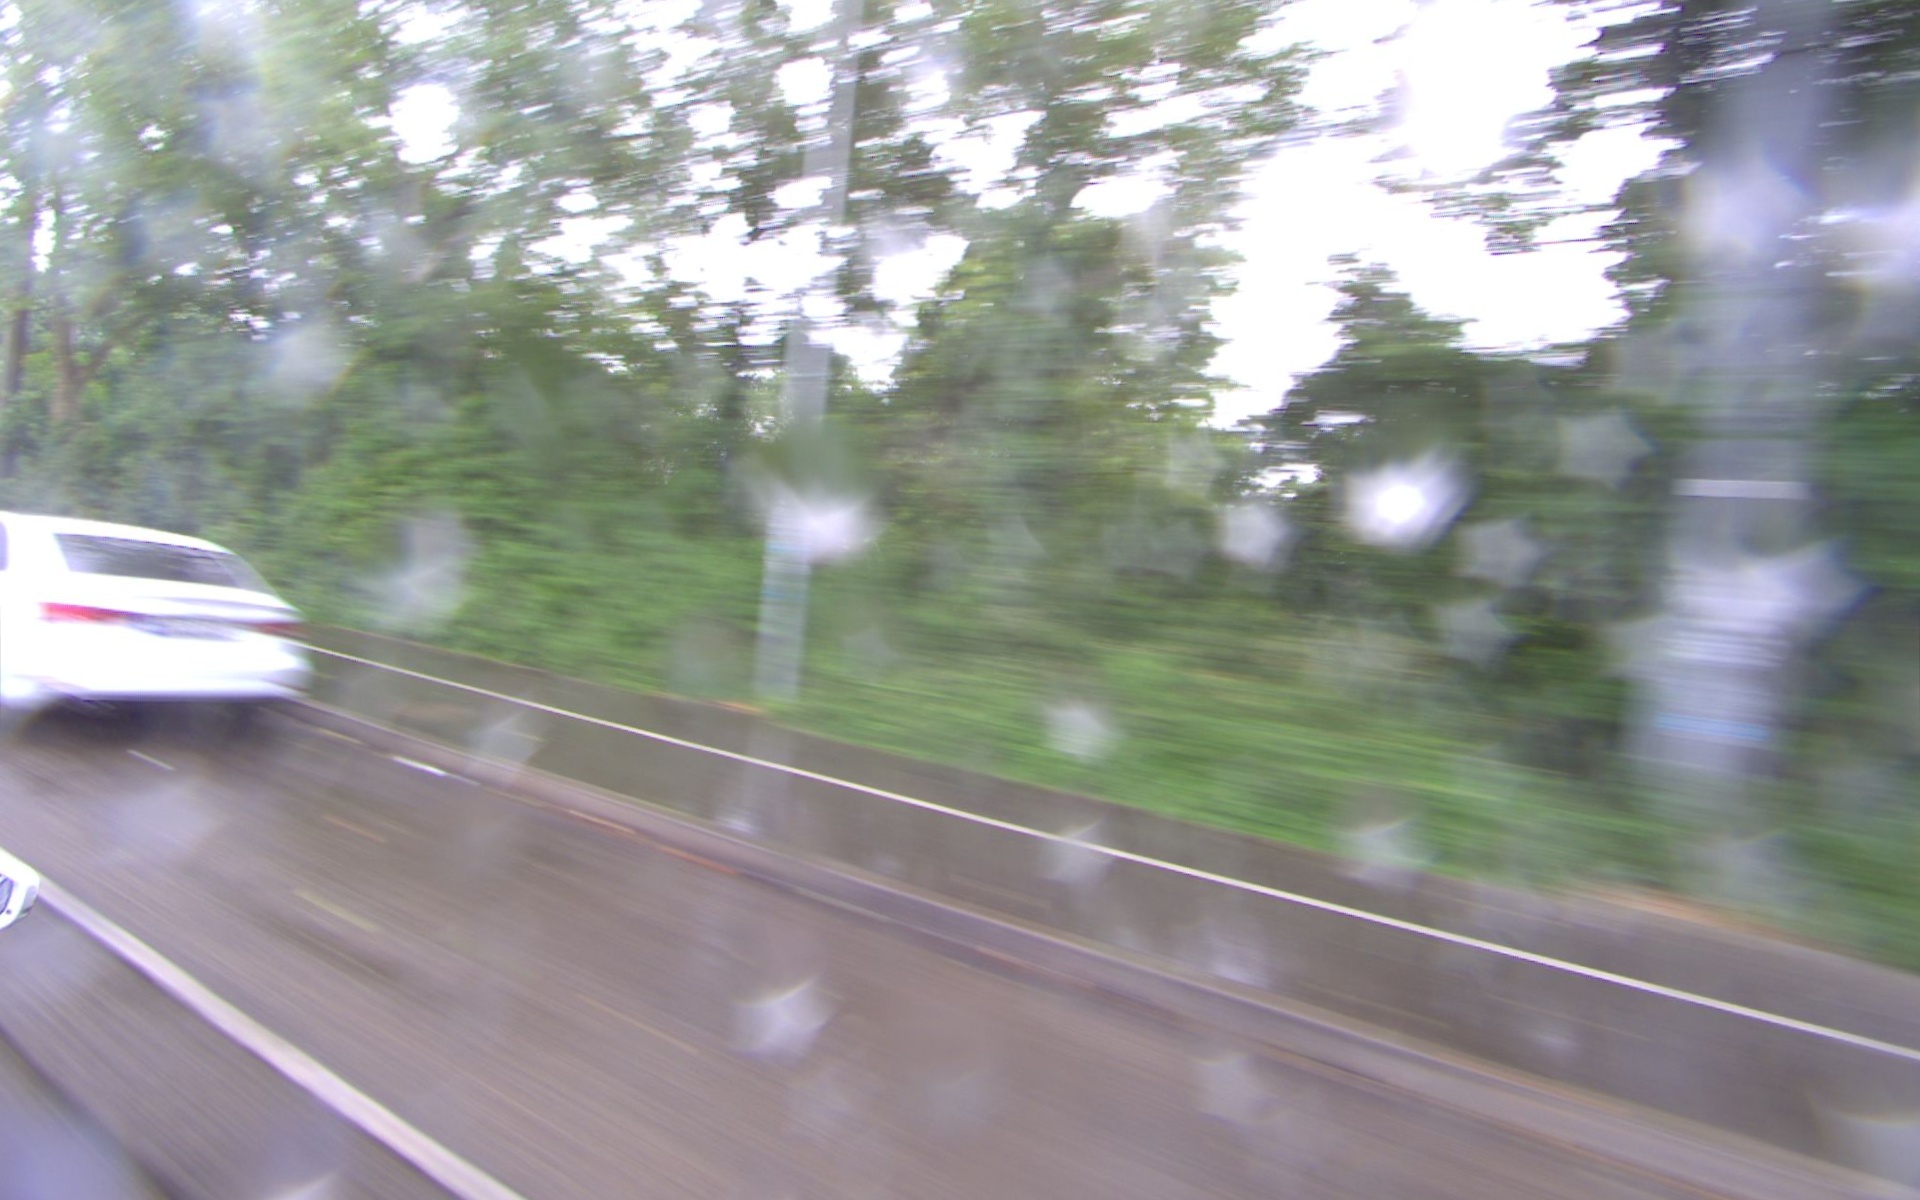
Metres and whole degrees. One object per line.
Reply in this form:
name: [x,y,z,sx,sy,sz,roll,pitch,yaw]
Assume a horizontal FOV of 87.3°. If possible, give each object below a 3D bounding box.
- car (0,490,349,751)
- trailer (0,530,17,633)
car: [-6.910,-0.004,7.746,4.406,1.503,1.823,7,-2,31]
trailer: [-11.859,-0.404,11.260,3.391,1.058,1.377,7,-2,39]
